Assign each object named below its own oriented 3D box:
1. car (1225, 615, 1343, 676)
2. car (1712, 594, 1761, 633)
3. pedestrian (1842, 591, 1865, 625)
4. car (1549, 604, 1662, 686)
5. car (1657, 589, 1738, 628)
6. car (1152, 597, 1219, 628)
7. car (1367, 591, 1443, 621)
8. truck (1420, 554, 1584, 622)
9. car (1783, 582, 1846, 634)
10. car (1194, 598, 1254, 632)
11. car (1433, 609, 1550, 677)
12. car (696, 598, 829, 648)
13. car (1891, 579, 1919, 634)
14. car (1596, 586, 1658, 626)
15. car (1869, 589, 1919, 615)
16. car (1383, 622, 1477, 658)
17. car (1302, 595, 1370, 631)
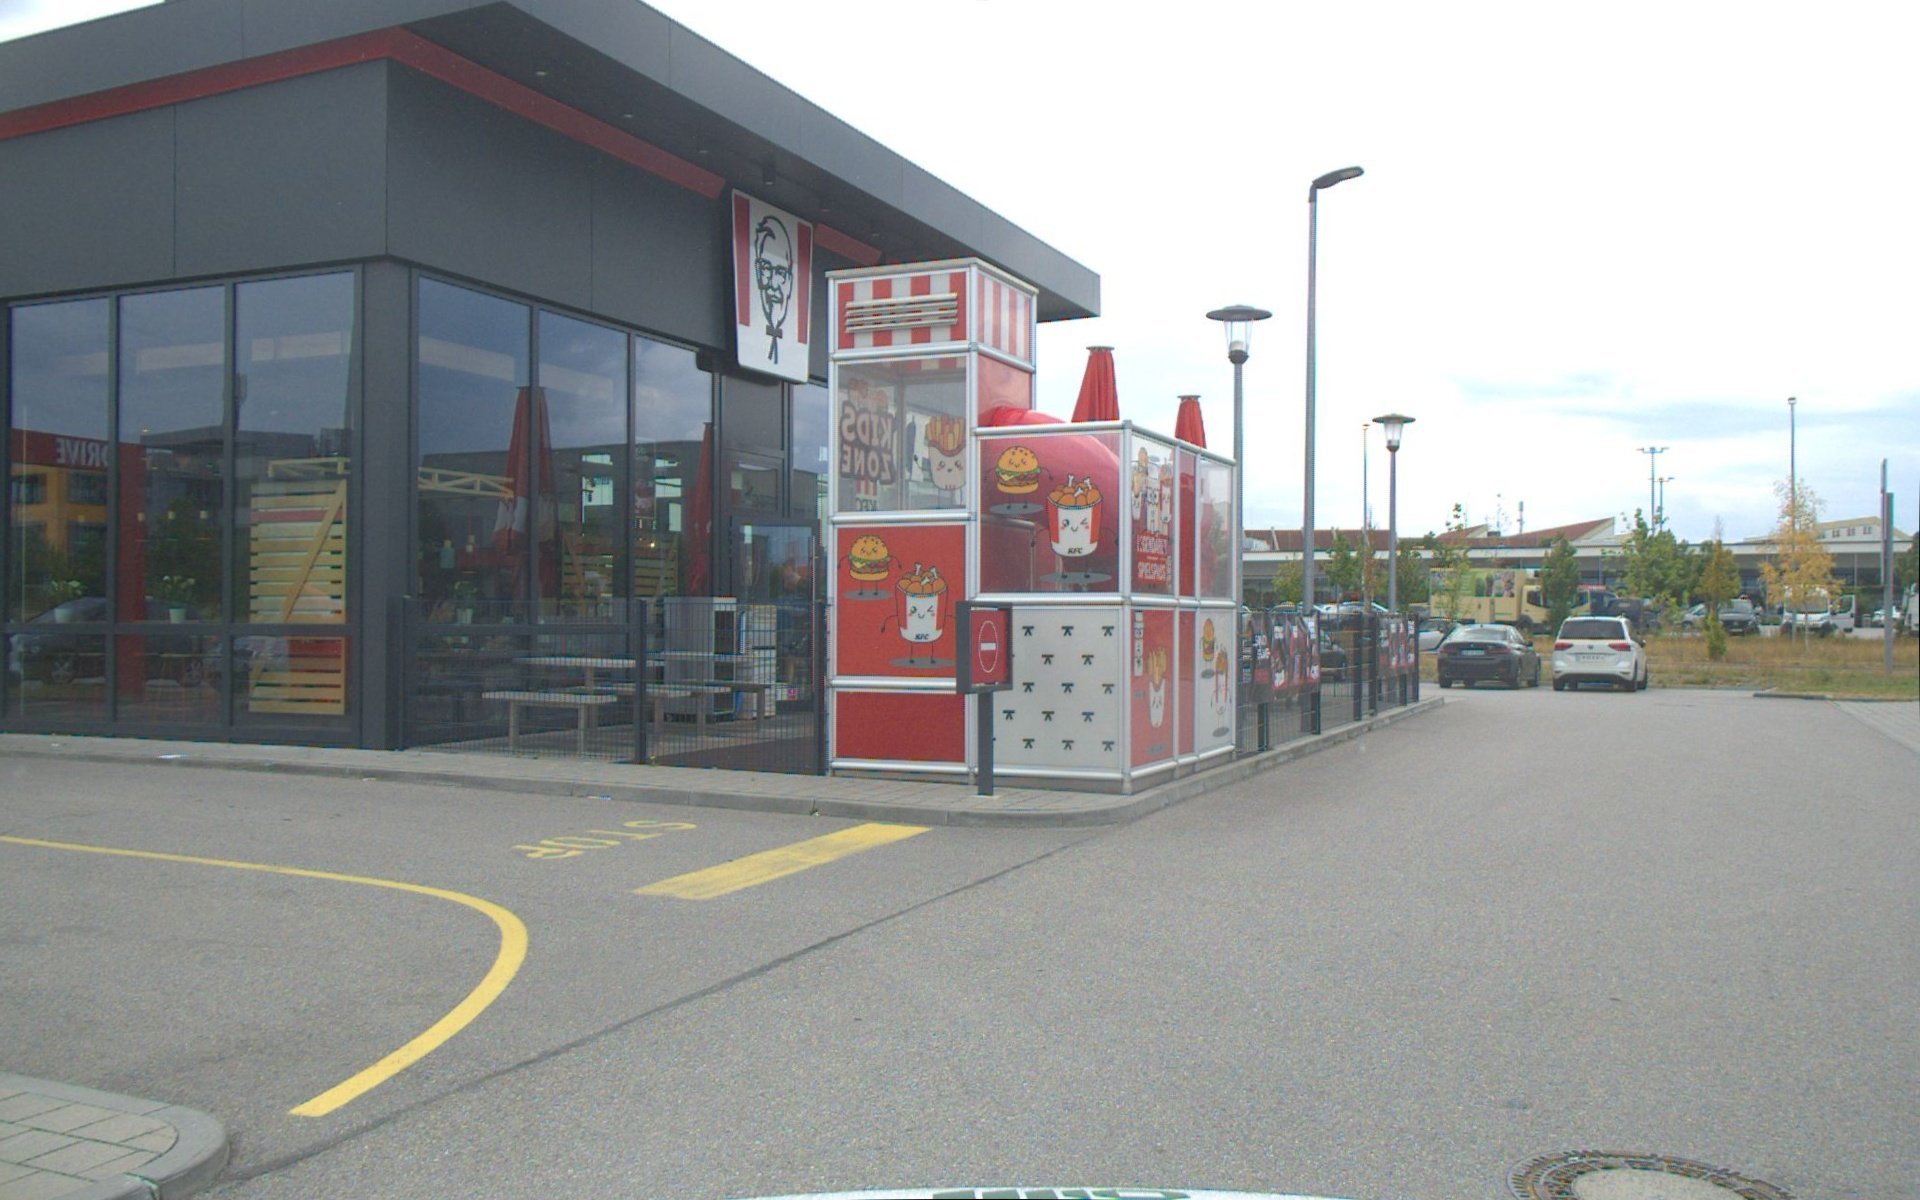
[{"bbox_3d":[8.167,1.153,41.434,1.846,1.437,4.065,0,-2,28],"label":"car"},{"bbox_3d":[36.489,0.621,77.745,2.030,1.667,5.066,0,1,25],"label":"car"},{"bbox_3d":[40.089,0.357,74.230,0.769,1.454,0.978,-1,1,21],"label":"pedestrian"},{"bbox_3d":[14.837,1.036,37.871,1.947,1.743,4.366,0,-2,28],"label":"car"},{"bbox_3d":[41.232,0.474,92.558,3.903,2.049,2.001,-1,1,19],"label":"car"},{"bbox_3d":[13.796,0.767,101.294,1.977,1.802,3.952,-1,1,-34],"label":"car"},{"bbox_3d":[27.523,0.365,102.305,4.222,1.802,1.998,0,1,26],"label":"car"},{"bbox_3d":[27.454,-0.615,84.246,2.983,3.252,8.362,-1,1,-26],"label":"truck"},{"bbox_3d":[39.448,0.312,76.494,2.361,2.253,6.055,0,1,25],"label":"car"},{"bbox_3d":[15.021,0.822,94.017,1.957,1.802,4.312,0,1,30],"label":"car"},{"bbox_3d":[12.628,1.034,39.126,1.904,1.492,4.510,0,-2,28],"label":"car"},{"bbox_3d":[-6.060,0.725,51.098,1.805,1.437,3.919,0,-2,39],"label":"car"},{"bbox_3d":[43.560,0.249,74.308,2.291,2.307,6.504,-1,1,23],"label":"car"},{"bbox_3d":[32.608,0.298,80.780,2.033,1.917,5.058,0,0,31],"label":"car"},{"bbox_3d":[65.728,0.147,115.500,3.911,1.766,1.931,0,1,29],"label":"car"},{"bbox_3d":[18.925,1.599,66.616,3.384,1.394,1.430,0,1,30],"label":"car"},{"bbox_3d":[20.284,0.673,89.144,1.894,1.802,4.301,0,1,38],"label":"car"}]
